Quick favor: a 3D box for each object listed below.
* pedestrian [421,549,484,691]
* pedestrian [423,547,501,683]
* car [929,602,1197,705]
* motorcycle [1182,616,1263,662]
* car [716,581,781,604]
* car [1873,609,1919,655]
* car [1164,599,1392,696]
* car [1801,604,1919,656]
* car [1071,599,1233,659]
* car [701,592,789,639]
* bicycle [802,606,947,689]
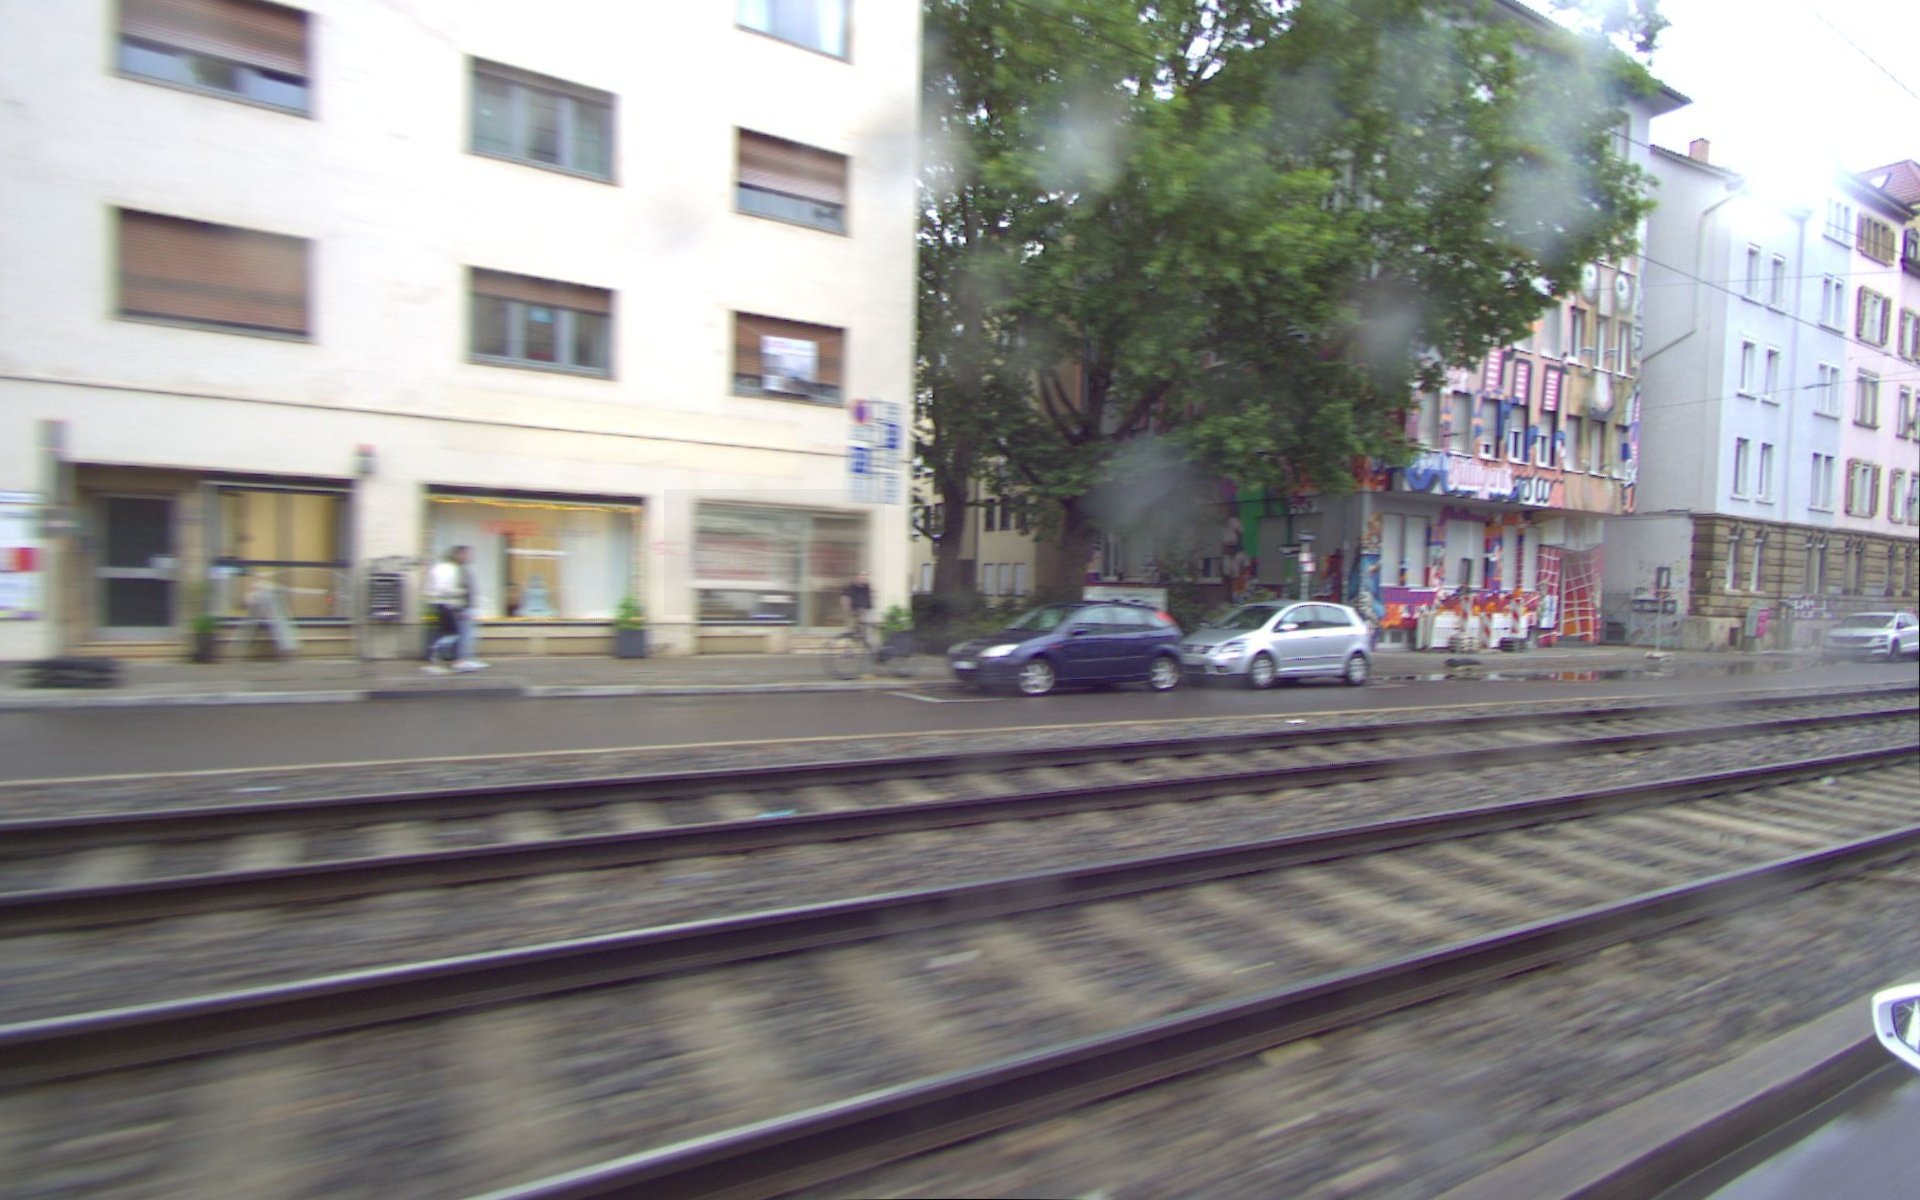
[{"bbox_3d":[-7.106,0.263,14.062,0.734,1.921,0.675,1,2,-30],"label":"pedestrian"},{"bbox_3d":[-7.303,0.212,14.721,0.971,1.921,0.723,1,2,-31],"label":"pedestrian"},{"bbox_3d":[1.728,0.796,16.426,4.171,1.488,1.735,0,0,-31],"label":"car"},{"bbox_3d":[6.373,0.919,24.373,2.096,1.047,0.635,0,2,-32],"label":"motorcycle"},{"bbox_3d":[-13.193,-0.460,62.704,3.564,1.383,1.773,0,1,15],"label":"car"},{"bbox_3d":[34.716,1.125,35.860,4.160,1.539,1.983,0,2,-31],"label":"car"},{"bbox_3d":[5.992,0.814,18.814,4.171,1.591,1.713,0,2,-31],"label":"car"},{"bbox_3d":[29.824,0.945,33.004,4.384,1.539,1.983,0,2,-31],"label":"car"},{"bbox_3d":[5.108,0.719,26.712,3.955,1.474,1.983,0,1,-32],"label":"car"},{"bbox_3d":[-9.938,0.672,46.660,1.963,2.041,3.995,1,1,26],"label":"car"},{"bbox_3d":[-1.343,0.735,16.170,2.382,1.243,0.586,1,2,-38],"label":"bicycle"}]
